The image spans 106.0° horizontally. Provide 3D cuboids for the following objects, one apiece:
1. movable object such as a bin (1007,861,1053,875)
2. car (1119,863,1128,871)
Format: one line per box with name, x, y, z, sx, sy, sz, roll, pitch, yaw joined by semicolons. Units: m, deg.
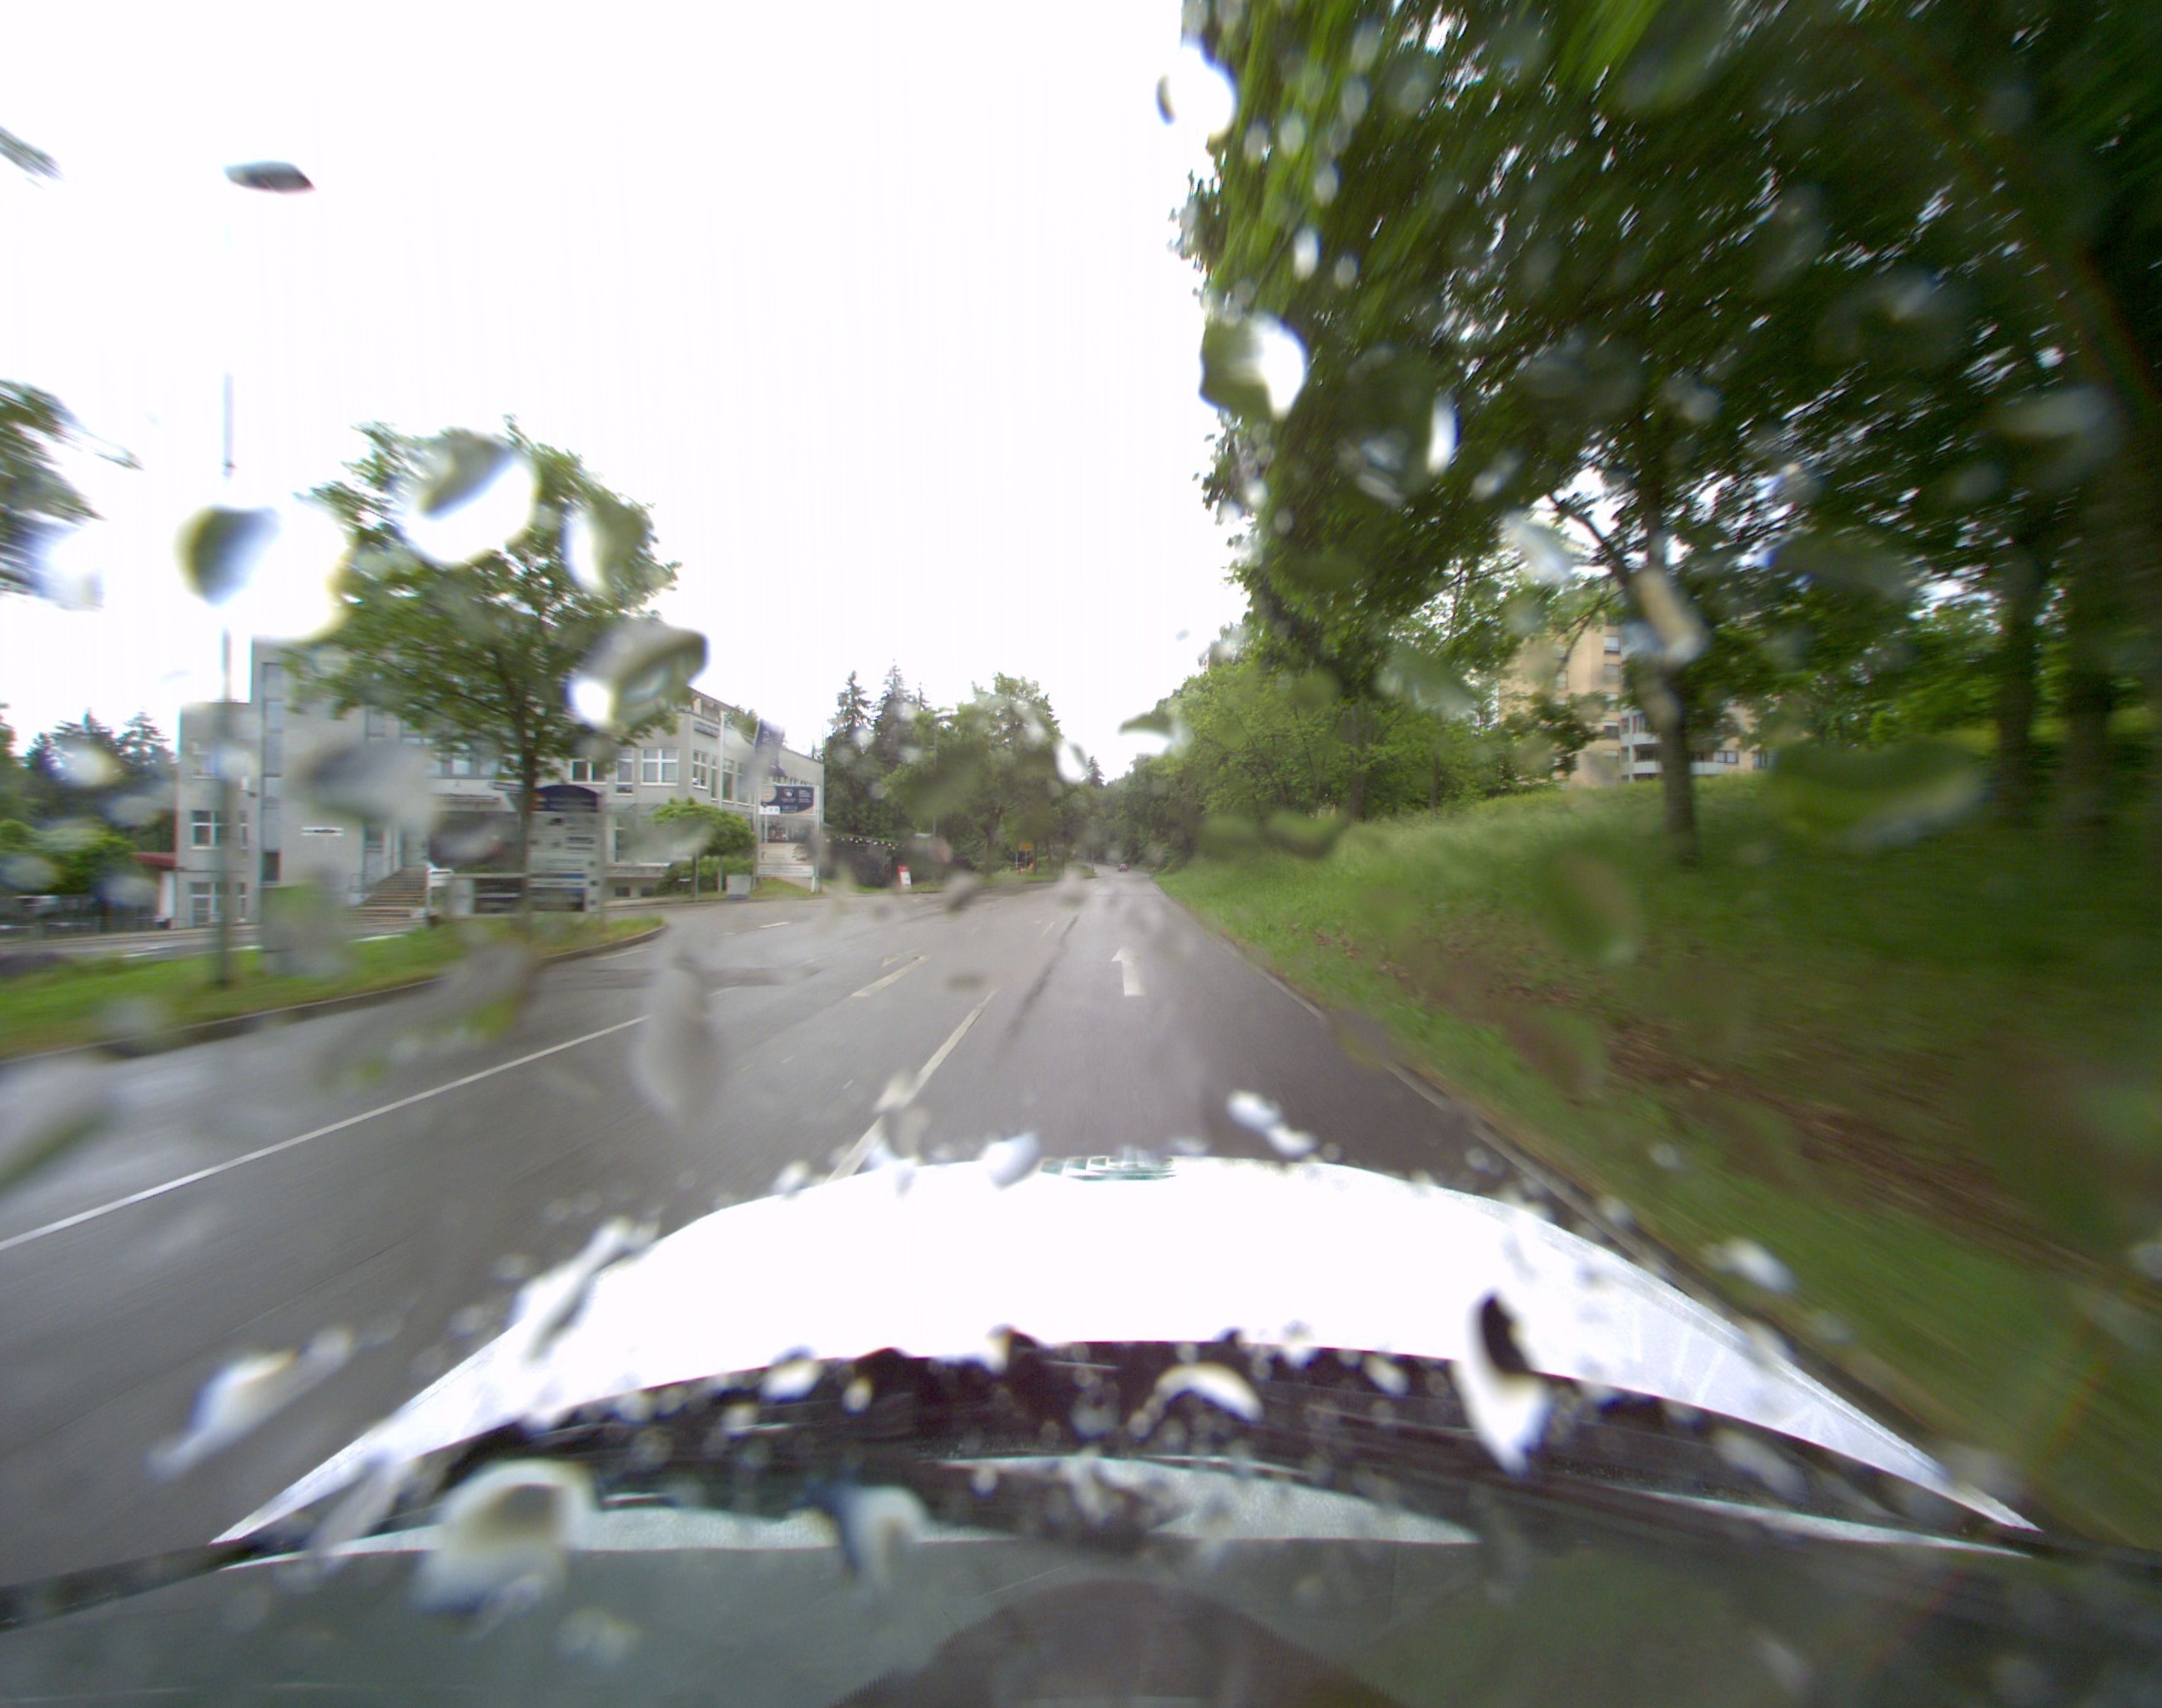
movable object such as a bin;-7.073;1.924;114.205;1.828;1.908;7.958;-2;-1;35
car;8.860;2.631;168.575;1.730;1.510;4.002;-2;0;2
